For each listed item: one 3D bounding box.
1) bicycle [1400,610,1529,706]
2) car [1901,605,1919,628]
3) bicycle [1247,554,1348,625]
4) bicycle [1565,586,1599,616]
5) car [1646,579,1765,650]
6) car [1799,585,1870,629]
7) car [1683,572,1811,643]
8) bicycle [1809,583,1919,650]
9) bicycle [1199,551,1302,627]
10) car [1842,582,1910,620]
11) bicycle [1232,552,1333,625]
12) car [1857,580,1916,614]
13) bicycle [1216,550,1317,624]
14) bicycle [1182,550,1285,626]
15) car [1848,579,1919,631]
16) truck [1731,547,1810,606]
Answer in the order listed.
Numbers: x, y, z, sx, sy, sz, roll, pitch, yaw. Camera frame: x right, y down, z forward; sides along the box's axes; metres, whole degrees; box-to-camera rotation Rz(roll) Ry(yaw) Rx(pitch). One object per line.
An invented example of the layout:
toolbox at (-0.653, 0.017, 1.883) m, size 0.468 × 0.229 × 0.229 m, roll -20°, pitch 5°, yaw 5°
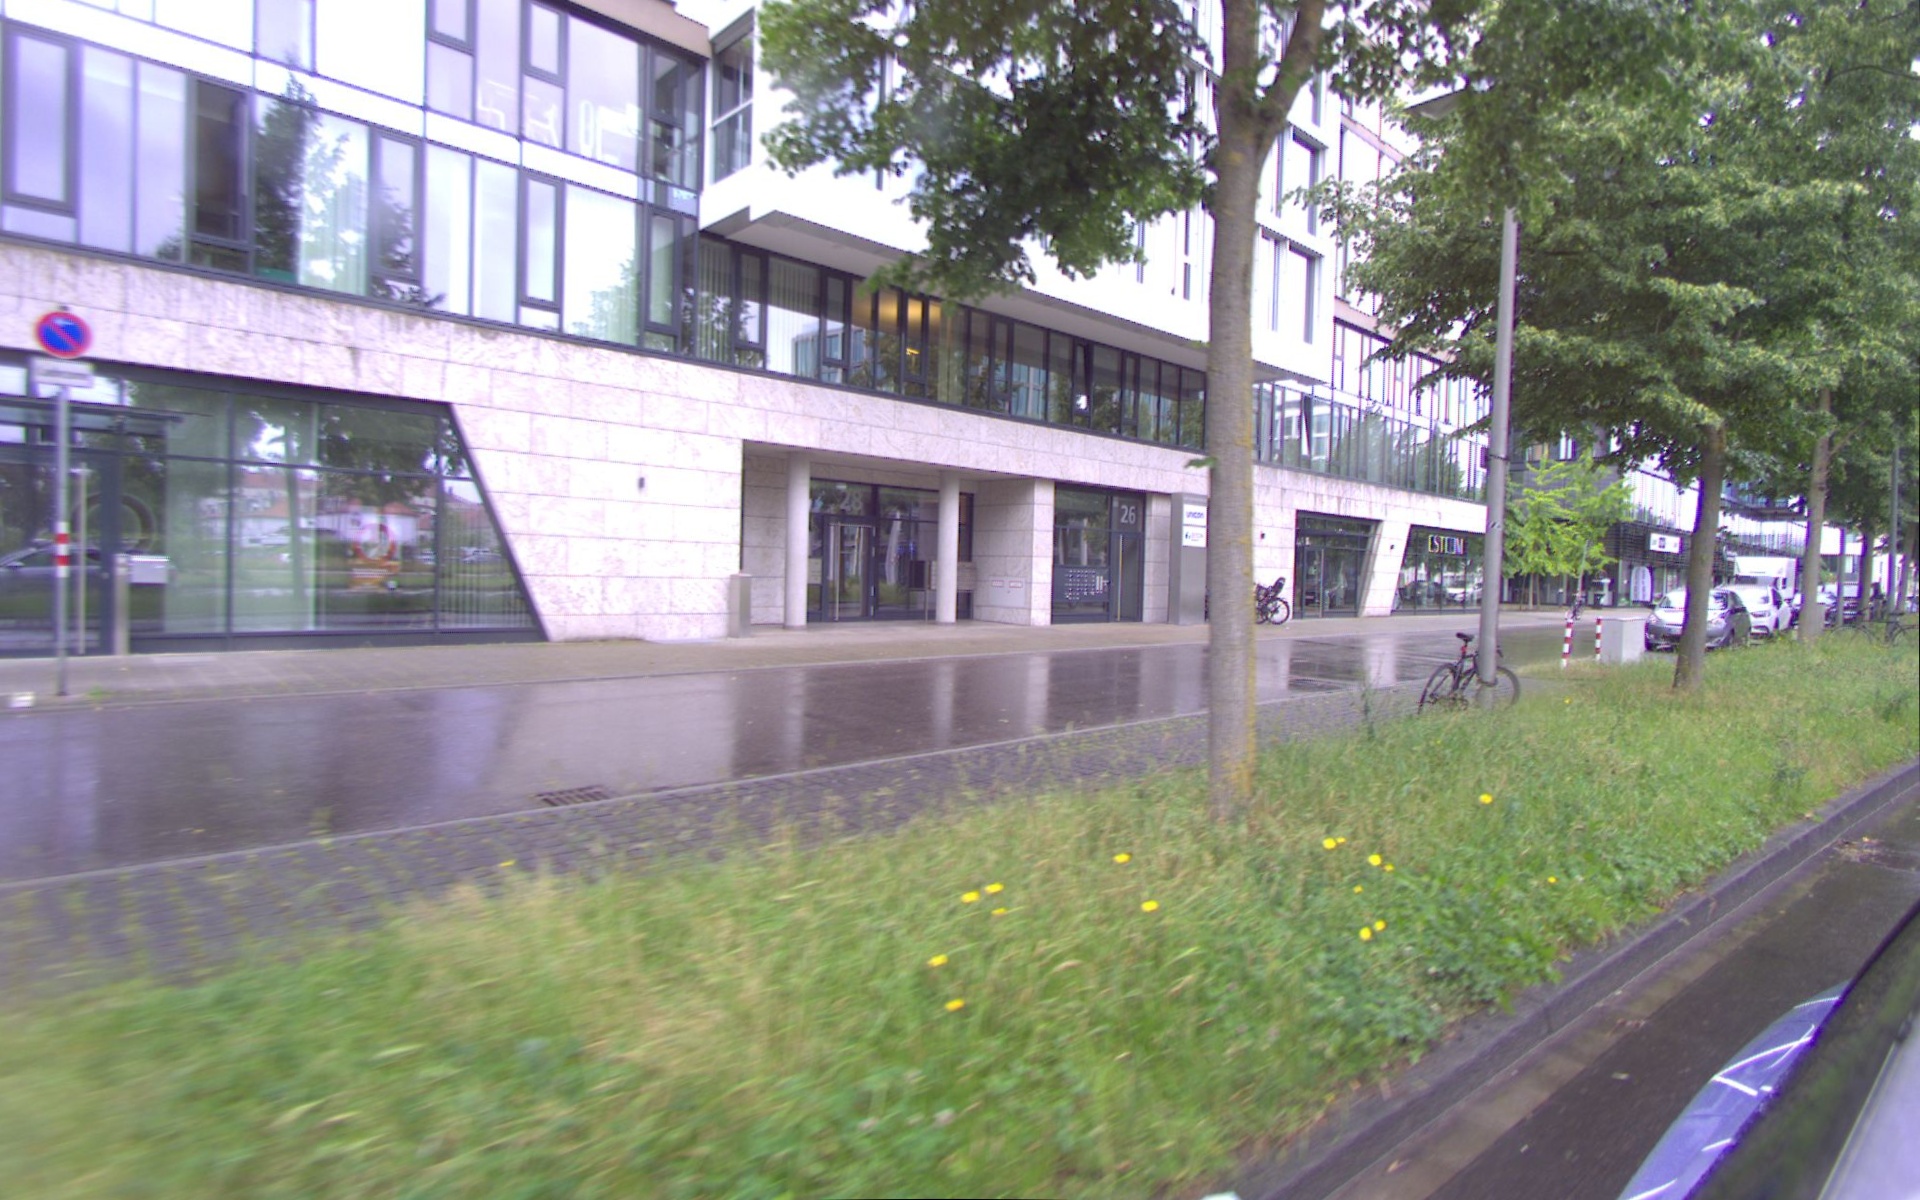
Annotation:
bicycle at (4.835, 0.549, 9.645) m, size 1.868 × 0.833 × 0.343 m, roll 3°, pitch 0°, yaw -40°
car at (63.574, 1.087, 66.772) m, size 1.994 × 1.462 × 5.153 m, roll 3°, pitch 2°, yaw 44°
bicycle at (9.452, -0.333, 28.478) m, size 0.694 × 1.883 × 2.688 m, roll 1°, pitch 2°, yaw -37°
bicycle at (24.600, 0.054, 40.004) m, size 2.028 × 1.144 × 0.519 m, roll 0°, pitch 2°, yaw -41°
car at (17.639, 0.342, 23.887) m, size 3.594 × 1.509 × 1.627 m, roll 2°, pitch 1°, yaw -44°
car at (34.142, 0.242, 39.552) m, size 1.955 × 1.531 × 4.416 m, roll 3°, pitch 3°, yaw 41°
car at (21.661, 0.237, 27.797) m, size 4.642 × 1.690 × 1.997 m, roll 3°, pitch 0°, yaw -43°
bicycle at (17.707, 0.304, 19.456) m, size 0.483 × 1.211 × 2.038 m, roll 0°, pitch 3°, yaw -42°
bicycle at (7.708, -0.323, 26.977) m, size 0.694 × 1.883 × 2.688 m, roll 1°, pitch 2°, yaw -37°
car at (44.120, 0.067, 48.701) m, size 4.873 × 1.690 × 1.996 m, roll 1°, pitch 0°, yaw -43°
bicycle at (8.871, -0.345, 27.998) m, size 0.694 × 1.883 × 2.688 m, roll 1°, pitch 2°, yaw -37°
car at (48.760, -0.166, 53.225) m, size 4.644 × 1.690 × 1.995 m, roll 1°, pitch 0°, yaw -44°
bicycle at (8.284, -0.393, 27.506) m, size 0.694 × 1.883 × 2.688 m, roll 1°, pitch 2°, yaw -37°
bicycle at (7.119, -0.348, 26.540) m, size 0.694 × 1.883 × 2.688 m, roll 1°, pitch 2°, yaw -37°
car at (39.349, 0.257, 43.087) m, size 1.991 × 1.977 × 4.957 m, roll 4°, pitch 0°, yaw 39°
truck at (51.699, -1.454, 64.468) m, size 3.026 × 3.483 × 8.411 m, roll 3°, pitch 2°, yaw 44°
